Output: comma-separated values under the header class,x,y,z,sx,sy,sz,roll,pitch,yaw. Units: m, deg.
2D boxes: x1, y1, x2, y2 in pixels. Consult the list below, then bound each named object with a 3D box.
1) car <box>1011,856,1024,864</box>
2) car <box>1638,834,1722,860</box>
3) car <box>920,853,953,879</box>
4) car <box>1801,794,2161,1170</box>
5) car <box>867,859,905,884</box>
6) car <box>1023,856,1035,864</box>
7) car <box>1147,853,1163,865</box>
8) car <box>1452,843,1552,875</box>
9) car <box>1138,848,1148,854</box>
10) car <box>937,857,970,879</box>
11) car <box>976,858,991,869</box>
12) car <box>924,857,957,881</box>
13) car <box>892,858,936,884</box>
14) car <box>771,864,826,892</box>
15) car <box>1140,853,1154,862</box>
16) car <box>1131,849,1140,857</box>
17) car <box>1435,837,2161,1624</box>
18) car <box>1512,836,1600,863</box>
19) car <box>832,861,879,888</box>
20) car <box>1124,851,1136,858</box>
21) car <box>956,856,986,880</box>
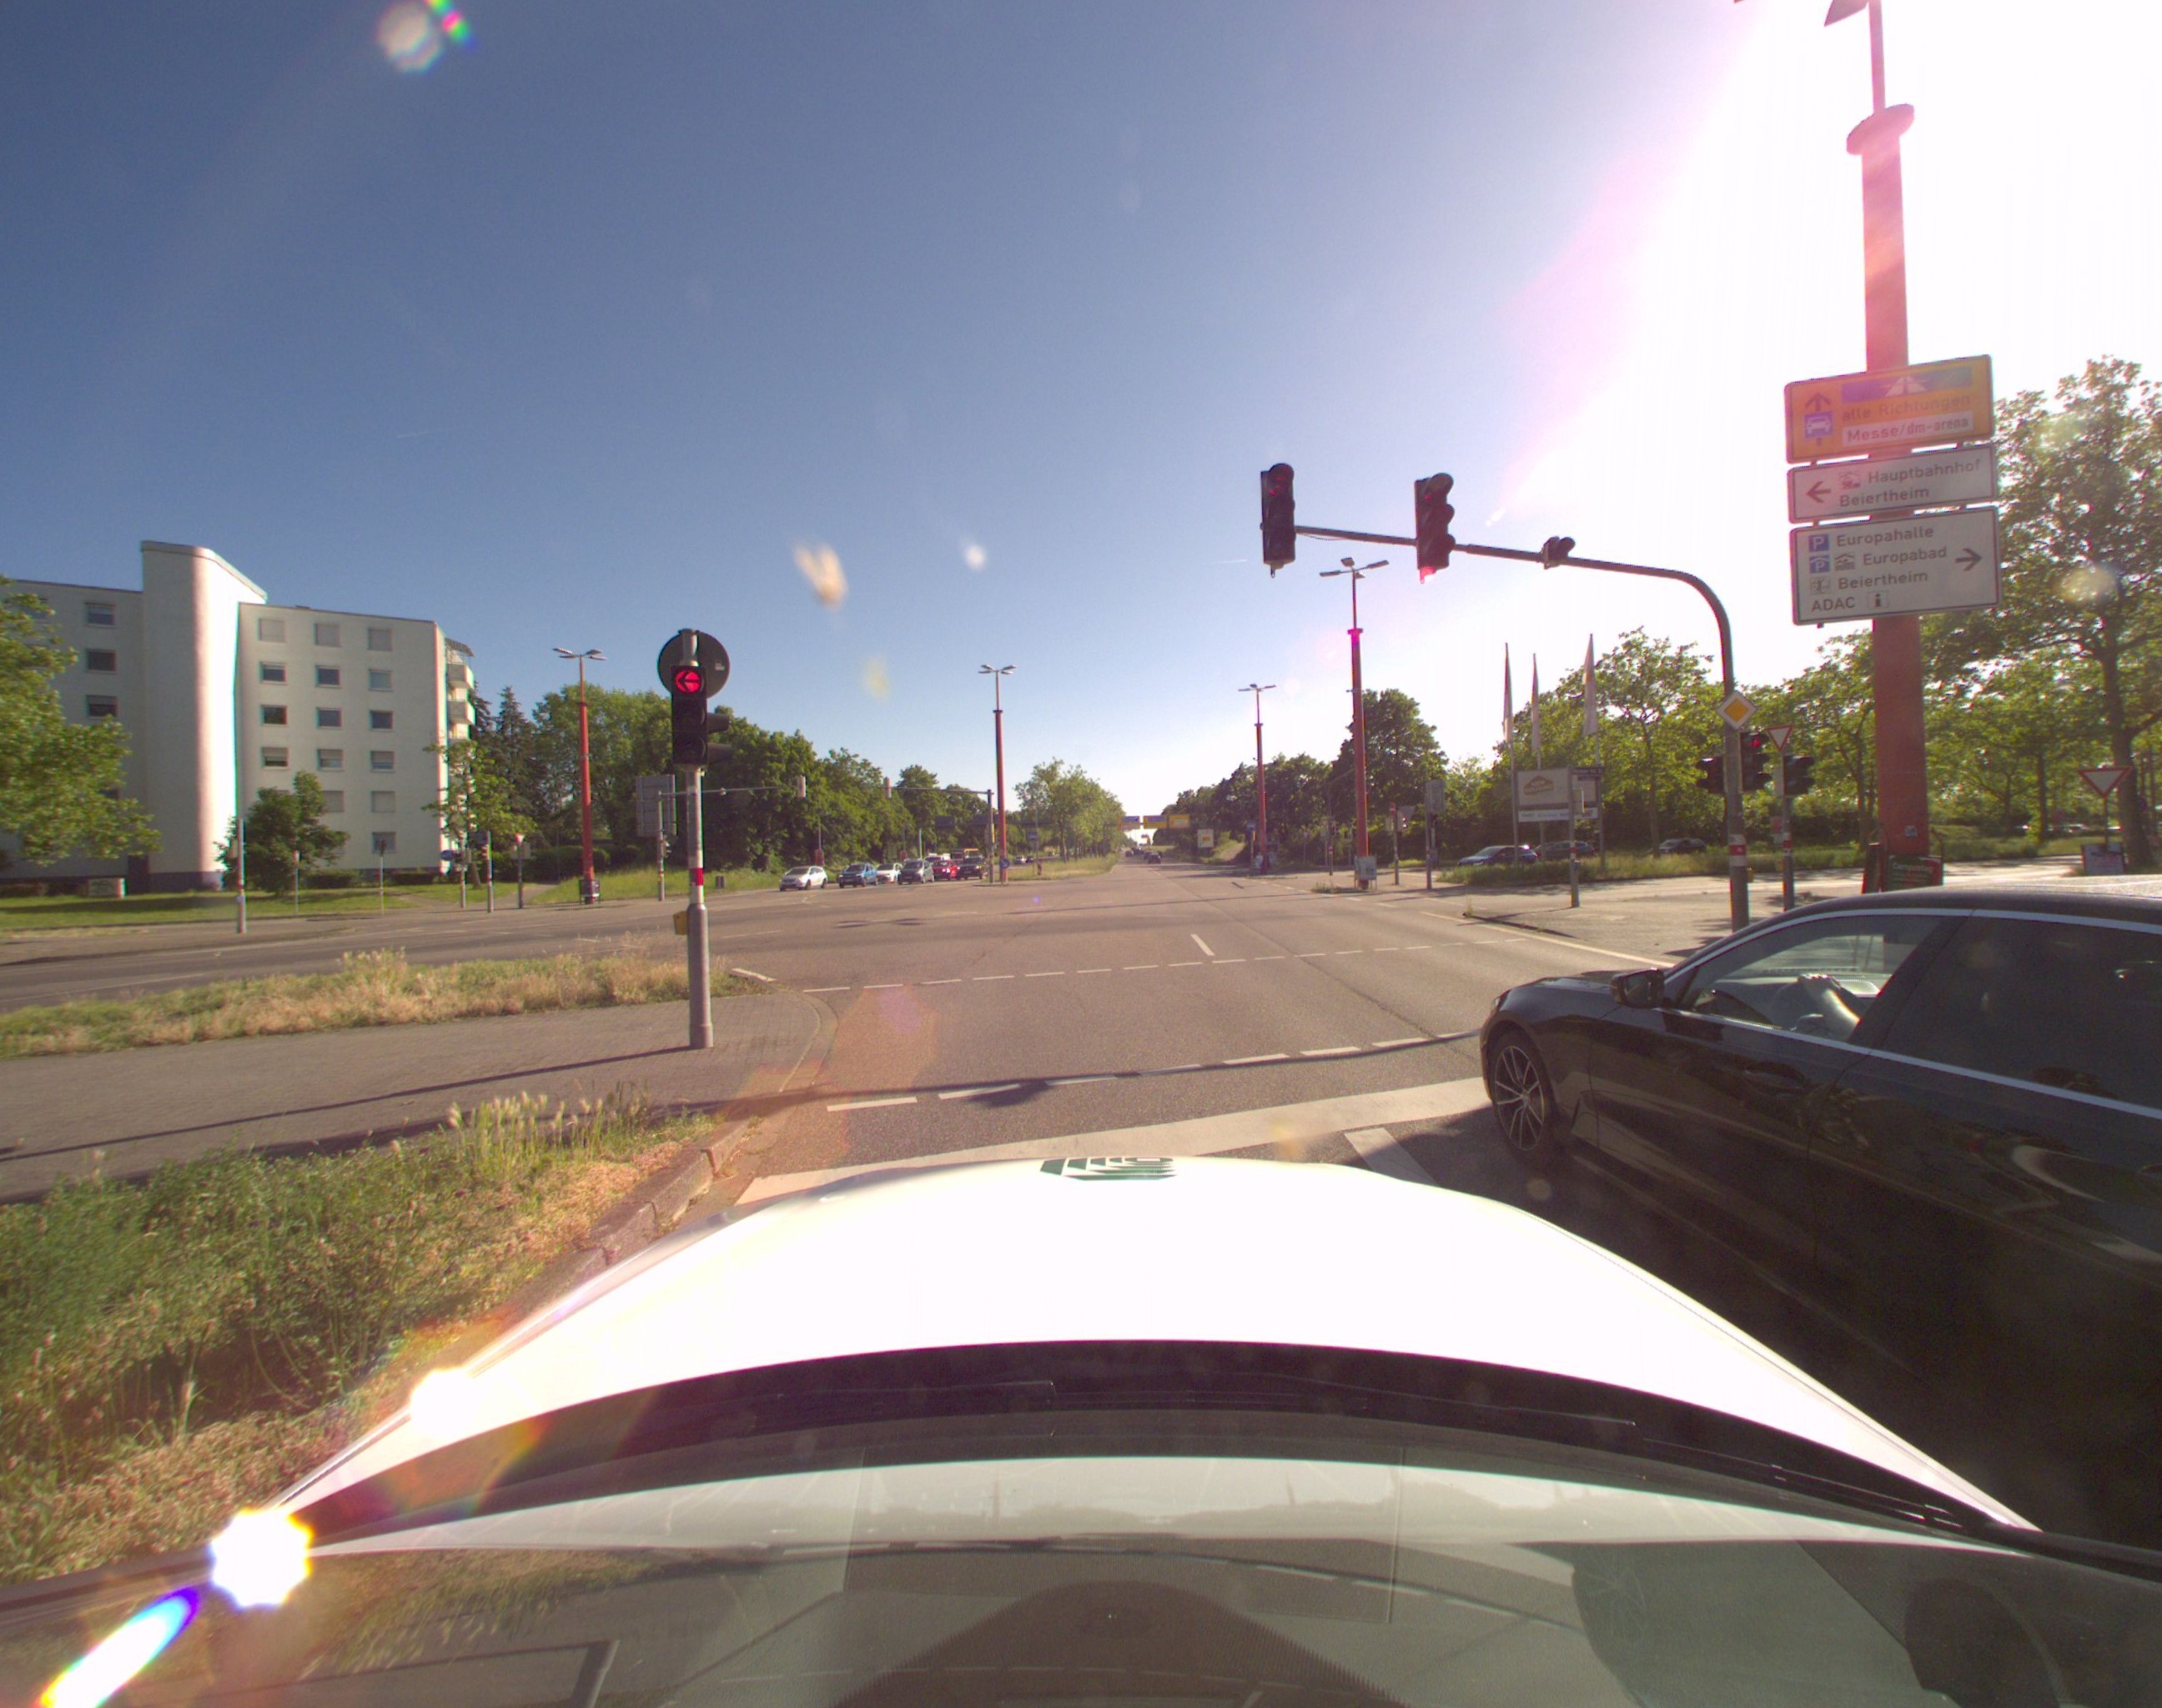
class,x,y,z,sx,sy,sz,roll,pitch,yaw
car,-11.690,1.129,150.711,1.877,1.454,3.658,-2,0,2
car,40.714,-0.459,55.431,4.260,1.573,2.162,-2,0,-5
car,-12.734,1.057,71.986,2.055,2.193,4.377,-2,0,0
car,5.802,0.560,3.262,1.959,1.686,4.479,-1,0,2
car,-13.737,1.219,57.523,1.991,1.573,4.112,-3,0,-6
car,-10.646,1.208,167.013,1.985,1.573,4.124,-2,0,3
car,10.657,0.695,117.755,2.149,1.573,4.285,-2,0,4
car,20.808,0.234,40.276,4.276,1.428,1.874,-2,0,-16
car,17.382,-0.836,228.837,2.153,1.573,4.277,-2,0,-2
car,-10.065,1.096,64.653,1.988,1.573,4.118,-2,0,-1
car,-15.051,1.512,125.619,1.872,1.573,4.117,-2,0,-2
car,-10.102,1.049,58.872,1.991,1.573,4.112,-2,0,-6
car,-10.731,1.048,52.580,1.988,1.573,4.119,-2,0,-1
car,-17.692,1.469,51.180,1.987,1.573,4.120,-2,0,0
car,13.120,0.657,161.760,2.153,1.573,4.277,-2,0,-2
car,14.080,-0.217,209.751,1.986,2.013,4.002,-2,0,2
car,2.955,0.665,2.373,1.986,1.394,4.479,-2,0,2
car,31.377,-0.289,53.855,4.557,1.573,2.164,-2,0,-3
car,-14.235,1.287,51.641,1.989,1.573,4.116,-2,0,-3
car,11.620,0.132,194.137,2.241,1.573,4.276,-2,0,-3
car,-7.565,0.941,56.490,1.874,1.573,4.112,-2,0,-6
